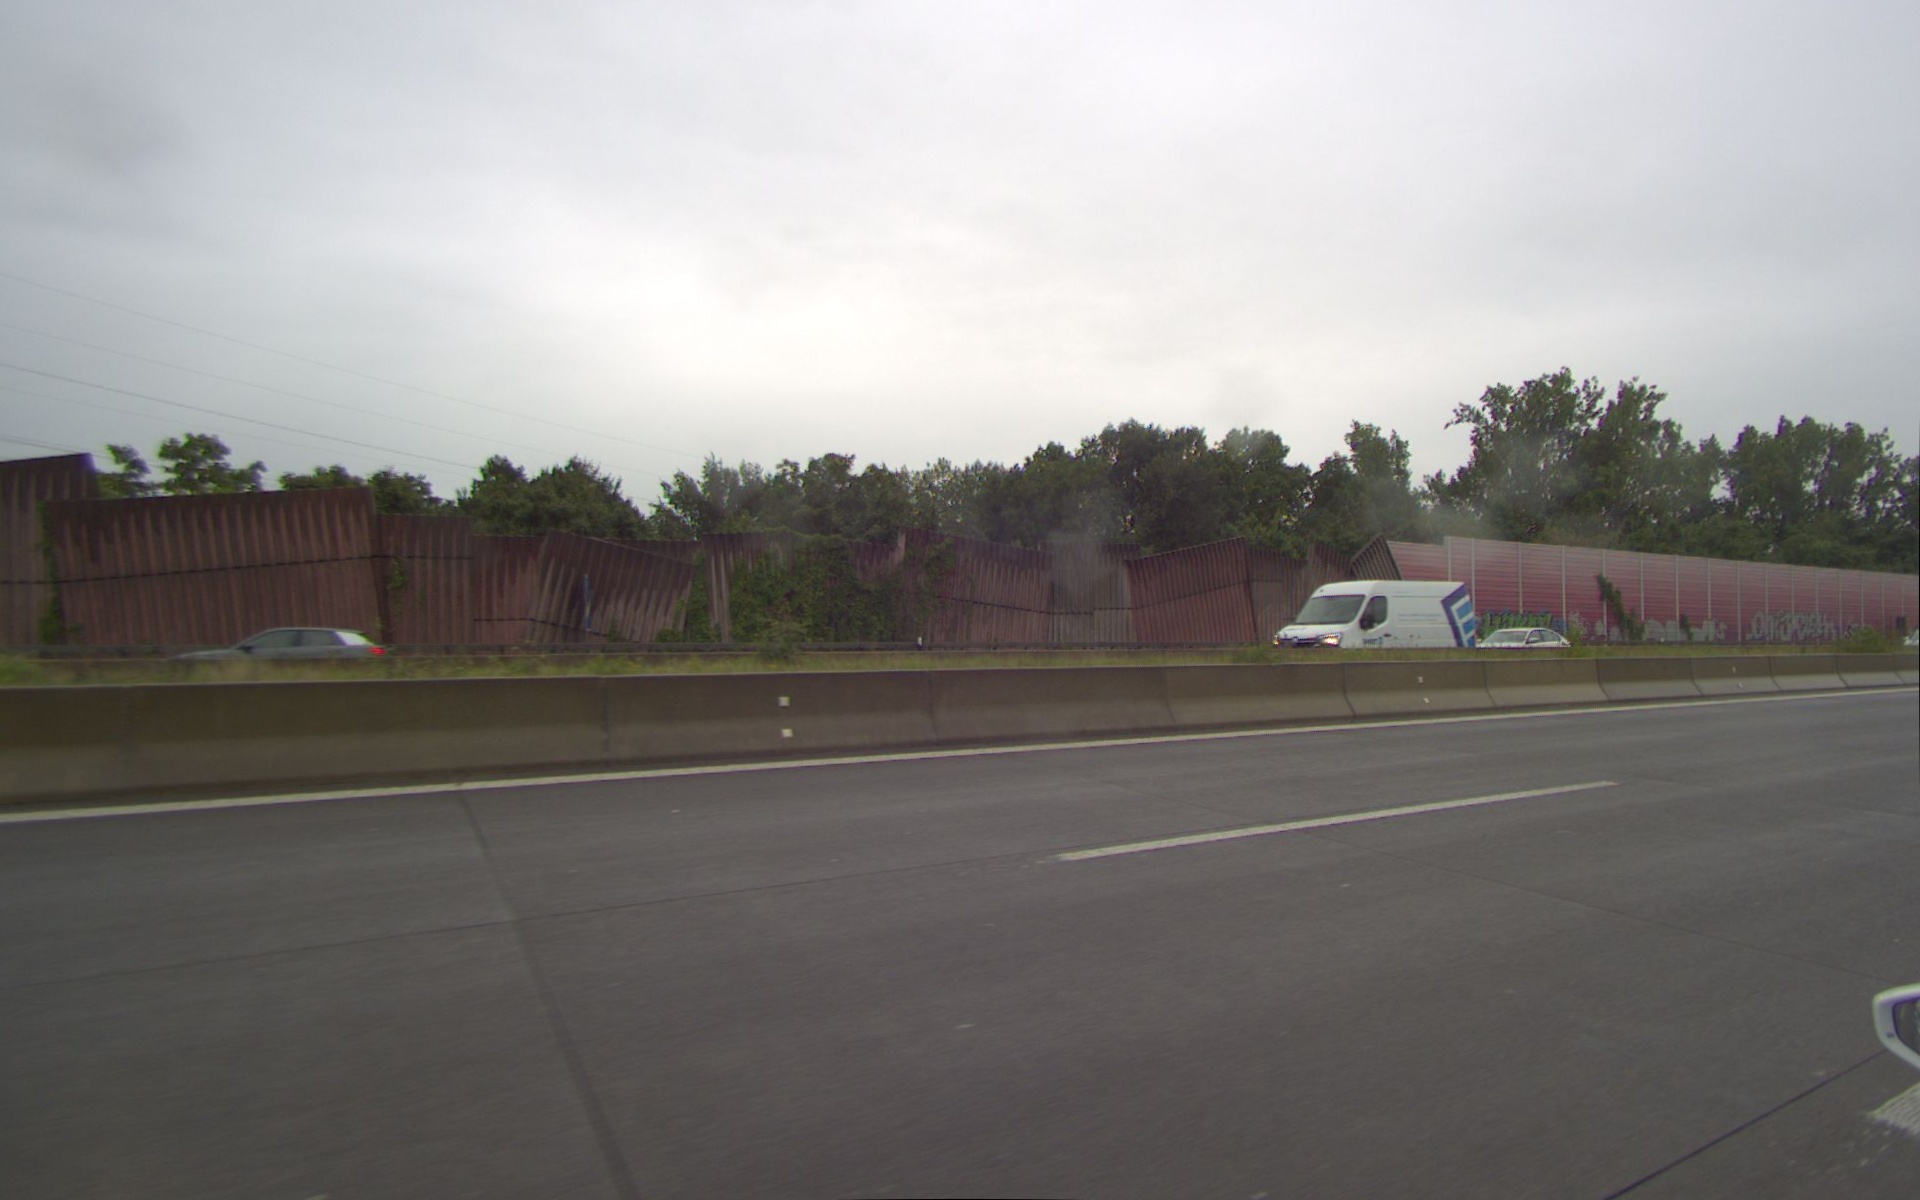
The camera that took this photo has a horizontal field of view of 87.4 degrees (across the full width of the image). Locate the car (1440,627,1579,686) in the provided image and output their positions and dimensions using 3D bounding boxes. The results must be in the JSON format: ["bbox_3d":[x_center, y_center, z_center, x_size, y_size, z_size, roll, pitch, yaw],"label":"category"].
[{"bbox_3d":[17.919,1.799,32.718,4.413,1.762,1.984,1,-1,-30],"label":"car"}]

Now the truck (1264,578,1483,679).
[{"bbox_3d":[10.125,0.683,24.488,5.354,2.235,2.135,1,-1,-30],"label":"truck"}]

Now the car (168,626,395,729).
[{"bbox_3d":[-14.761,1.624,22.168,3.952,2.040,1.984,1,-1,-30],"label":"car"}]
